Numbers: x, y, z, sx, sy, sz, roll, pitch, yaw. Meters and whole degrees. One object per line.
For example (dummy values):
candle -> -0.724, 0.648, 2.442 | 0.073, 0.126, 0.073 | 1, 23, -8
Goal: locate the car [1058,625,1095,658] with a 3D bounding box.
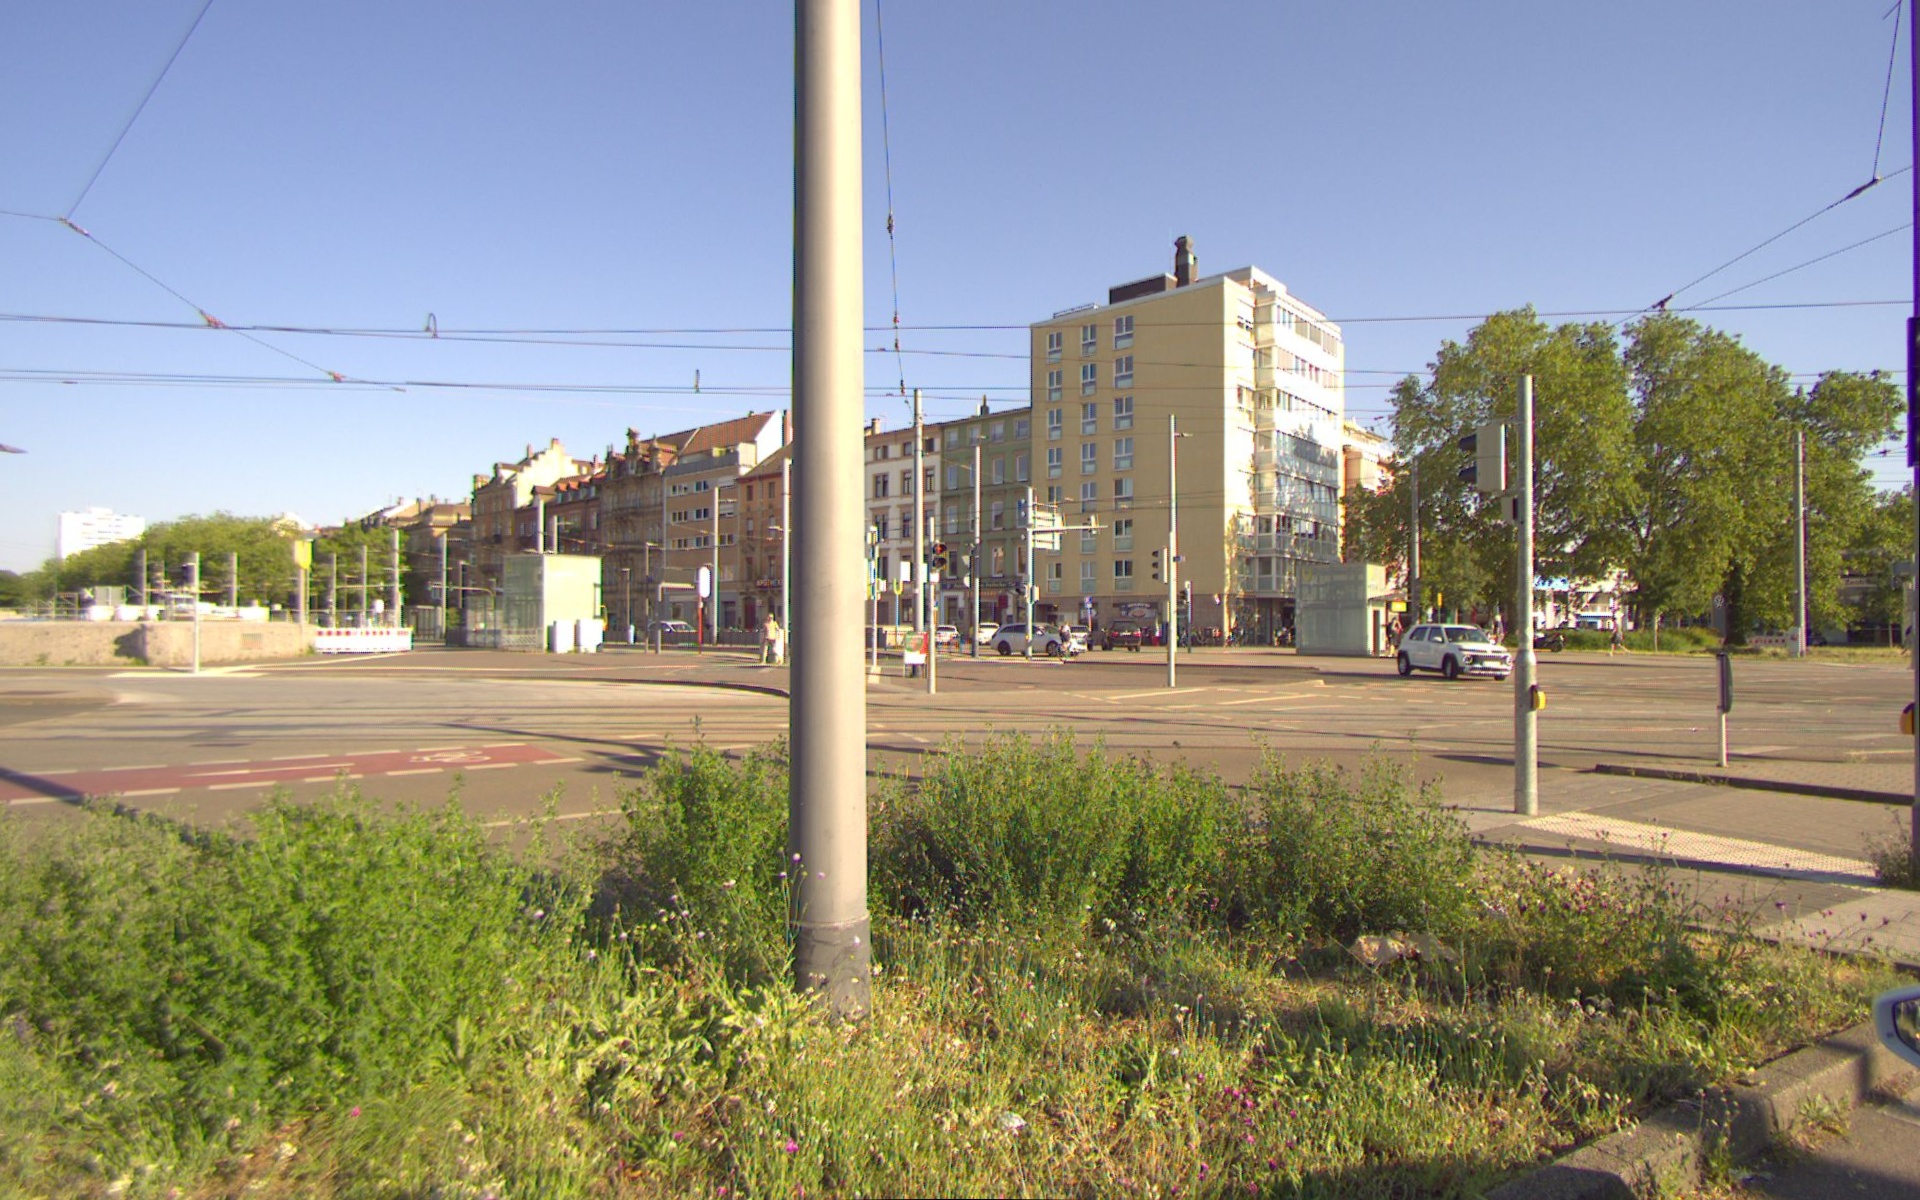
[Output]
car -> 6.846, 2.404, 59.303 | 1.960, 1.728, 4.001 | 2, 0, 4

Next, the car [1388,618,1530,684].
car -> 14.408, 1.437, 29.271 | 1.753, 1.684, 3.995 | 2, 0, -7

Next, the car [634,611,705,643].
car -> -18.645, 1.734, 64.373 | 4.837, 1.849, 1.990 | 2, 0, 41

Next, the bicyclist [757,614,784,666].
bicyclist -> -6.450, 1.347, 34.207 | 0.653, 1.706, 0.980 | 2, 0, 2

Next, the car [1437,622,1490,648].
car -> 32.019, 2.209, 63.817 | 3.973, 1.588, 1.753 | 2, 0, -44

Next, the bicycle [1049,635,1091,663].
bicycle -> 4.466, 1.979, 40.772 | 0.617, 1.104, 1.914 | 2, 0, 44

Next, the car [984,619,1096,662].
car -> 3.555, 1.763, 44.826 | 4.638, 1.684, 1.782 | 2, 0, 32

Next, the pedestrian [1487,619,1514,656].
pedestrian -> 25.659, 1.786, 47.669 | 0.747, 1.728, 0.793 | 2, 0, -22

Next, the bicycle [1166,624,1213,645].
bicycle -> 14.423, 2.176, 63.236 | 3.003, 1.167, 0.637 | 1, 0, 44

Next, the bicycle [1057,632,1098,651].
bicycle -> 8.090, 2.867, 69.036 | 3.003, 1.167, 0.637 | 1, 0, 44

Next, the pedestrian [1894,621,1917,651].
pedestrian -> 55.107, 2.093, 58.553 | 0.491, 1.716, 0.852 | 2, 0, -32

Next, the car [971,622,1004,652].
car -> 1.779, 2.355, 63.998 | 1.960, 1.728, 4.001 | 2, 0, 4

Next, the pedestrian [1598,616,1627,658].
pedestrian -> 30.631, 1.719, 47.164 | 0.747, 1.911, 0.793 | 2, 0, -22

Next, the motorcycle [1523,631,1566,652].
motorcycle -> 29.154, 2.062, 50.116 | 1.753, 0.926, 0.676 | 2, 0, 41

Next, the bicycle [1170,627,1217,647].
bicycle -> 14.814, 2.349, 63.858 | 3.003, 1.167, 0.637 | 1, 0, 44

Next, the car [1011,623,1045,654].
car -> 4.163, 2.319, 61.837 | 1.960, 1.728, 4.001 | 2, 0, 4

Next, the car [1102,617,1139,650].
car -> 9.118, 1.879, 57.382 | 1.684, 1.728, 4.001 | 2, 0, 4

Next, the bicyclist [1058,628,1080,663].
bicyclist -> 4.422, 1.833, 40.720 | 0.617, 1.368, 0.658 | 2, 0, 44

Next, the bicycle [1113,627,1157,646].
bicycle -> 11.495, 2.393, 66.218 | 3.003, 1.167, 0.637 | 1, 0, 44

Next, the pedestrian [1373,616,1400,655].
pedestrian -> 19.130, 1.577, 45.031 | 0.747, 1.728, 0.793 | 2, 0, -22

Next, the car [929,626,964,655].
car -> -0.843, 2.640, 66.300 | 1.960, 1.728, 4.001 | 2, 0, 4

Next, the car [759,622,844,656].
car -> -8.859, 2.164, 55.982 | 4.837, 1.848, 1.991 | -1, -3, 40
